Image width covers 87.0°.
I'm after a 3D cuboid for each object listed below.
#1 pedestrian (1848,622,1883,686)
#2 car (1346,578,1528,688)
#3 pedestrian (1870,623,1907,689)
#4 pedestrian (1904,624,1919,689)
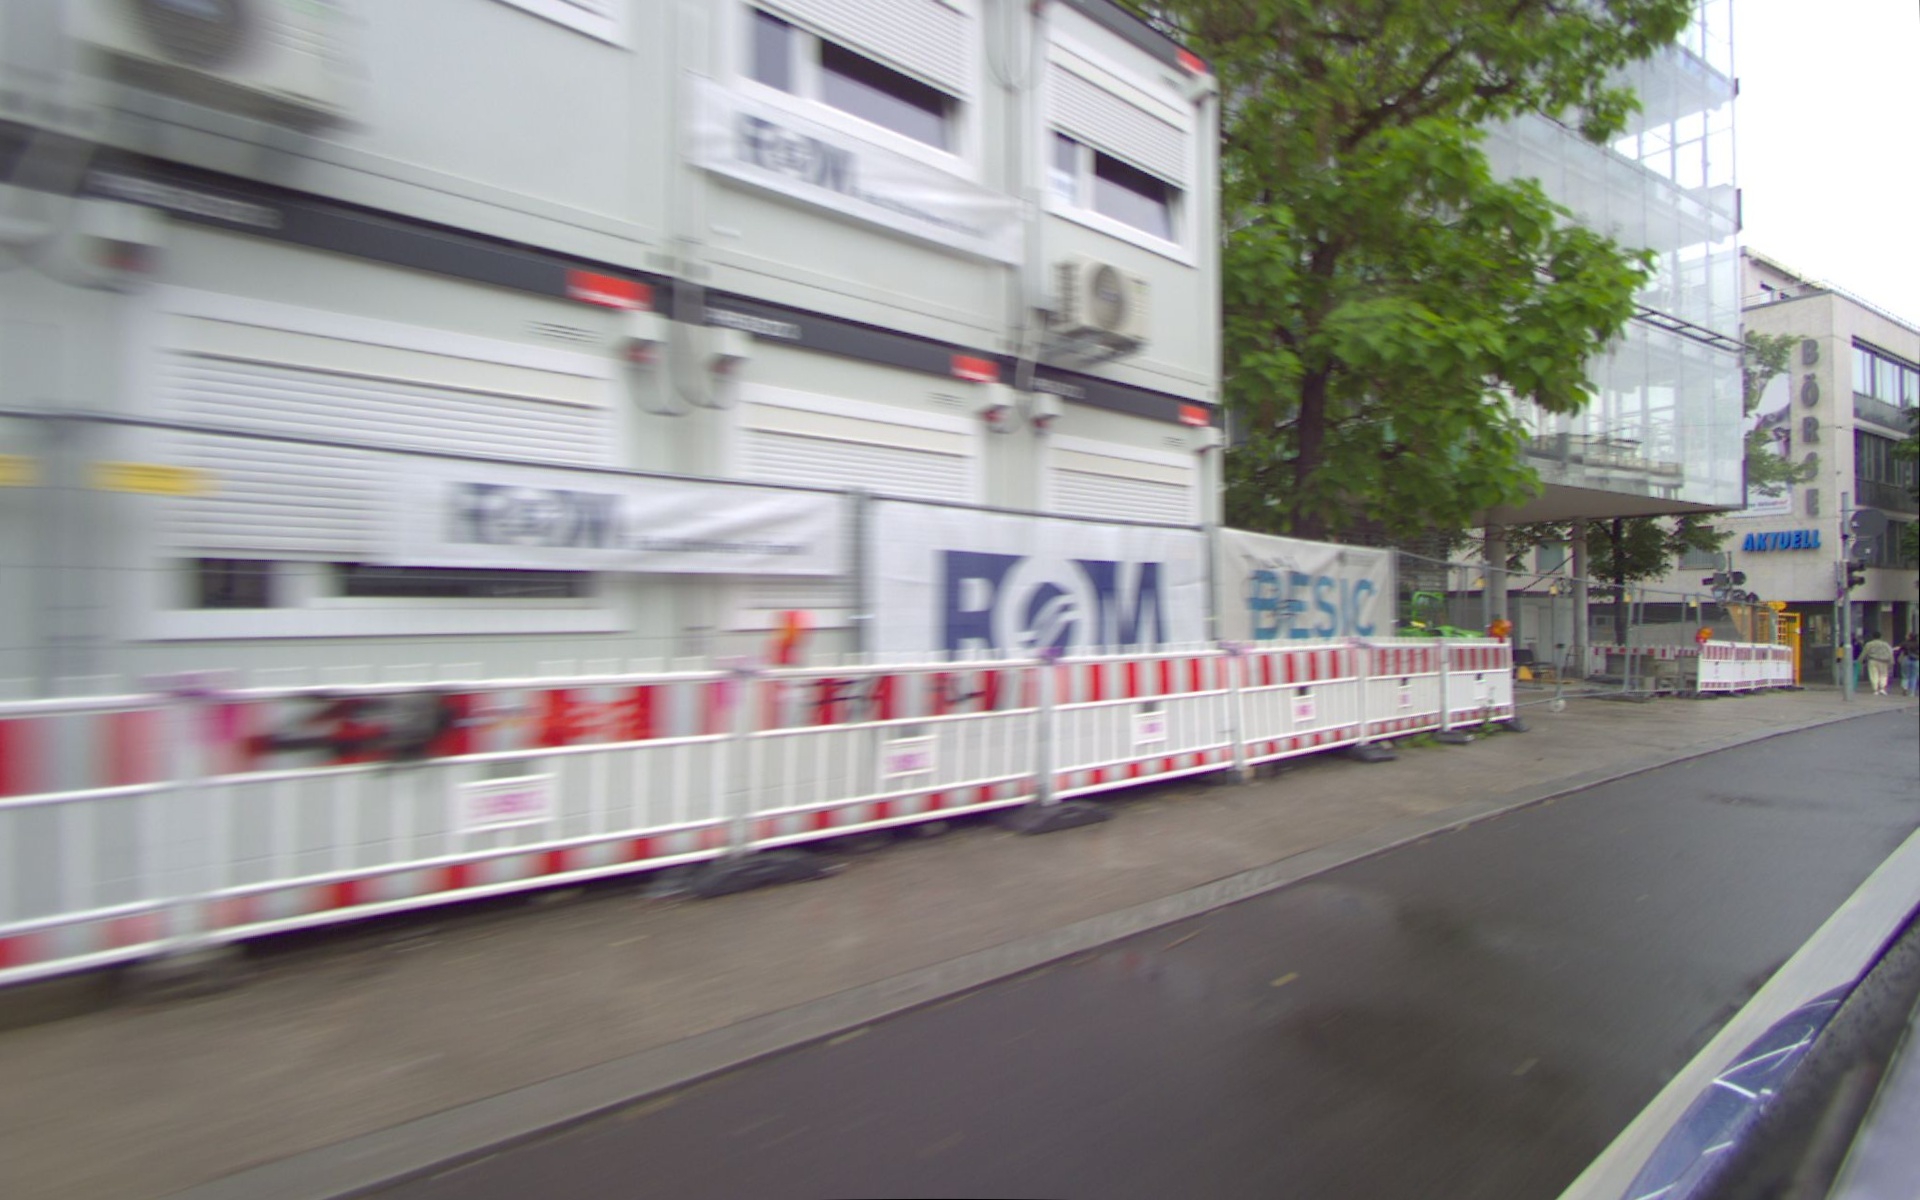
[{"bbox_3d":[25.730,1.518,28.755,0.830,1.784,0.599,2,-2,-39],"label":"pedestrian"},{"bbox_3d":[9.798,0.655,20.651,4.130,2.008,2.011,2,-2,-44],"label":"car"},{"bbox_3d":[25.616,1.532,27.922,0.718,1.784,0.943,-1,-2,45],"label":"pedestrian"},{"bbox_3d":[26.798,1.561,28.185,0.718,1.784,0.943,-1,-2,45],"label":"pedestrian"}]
